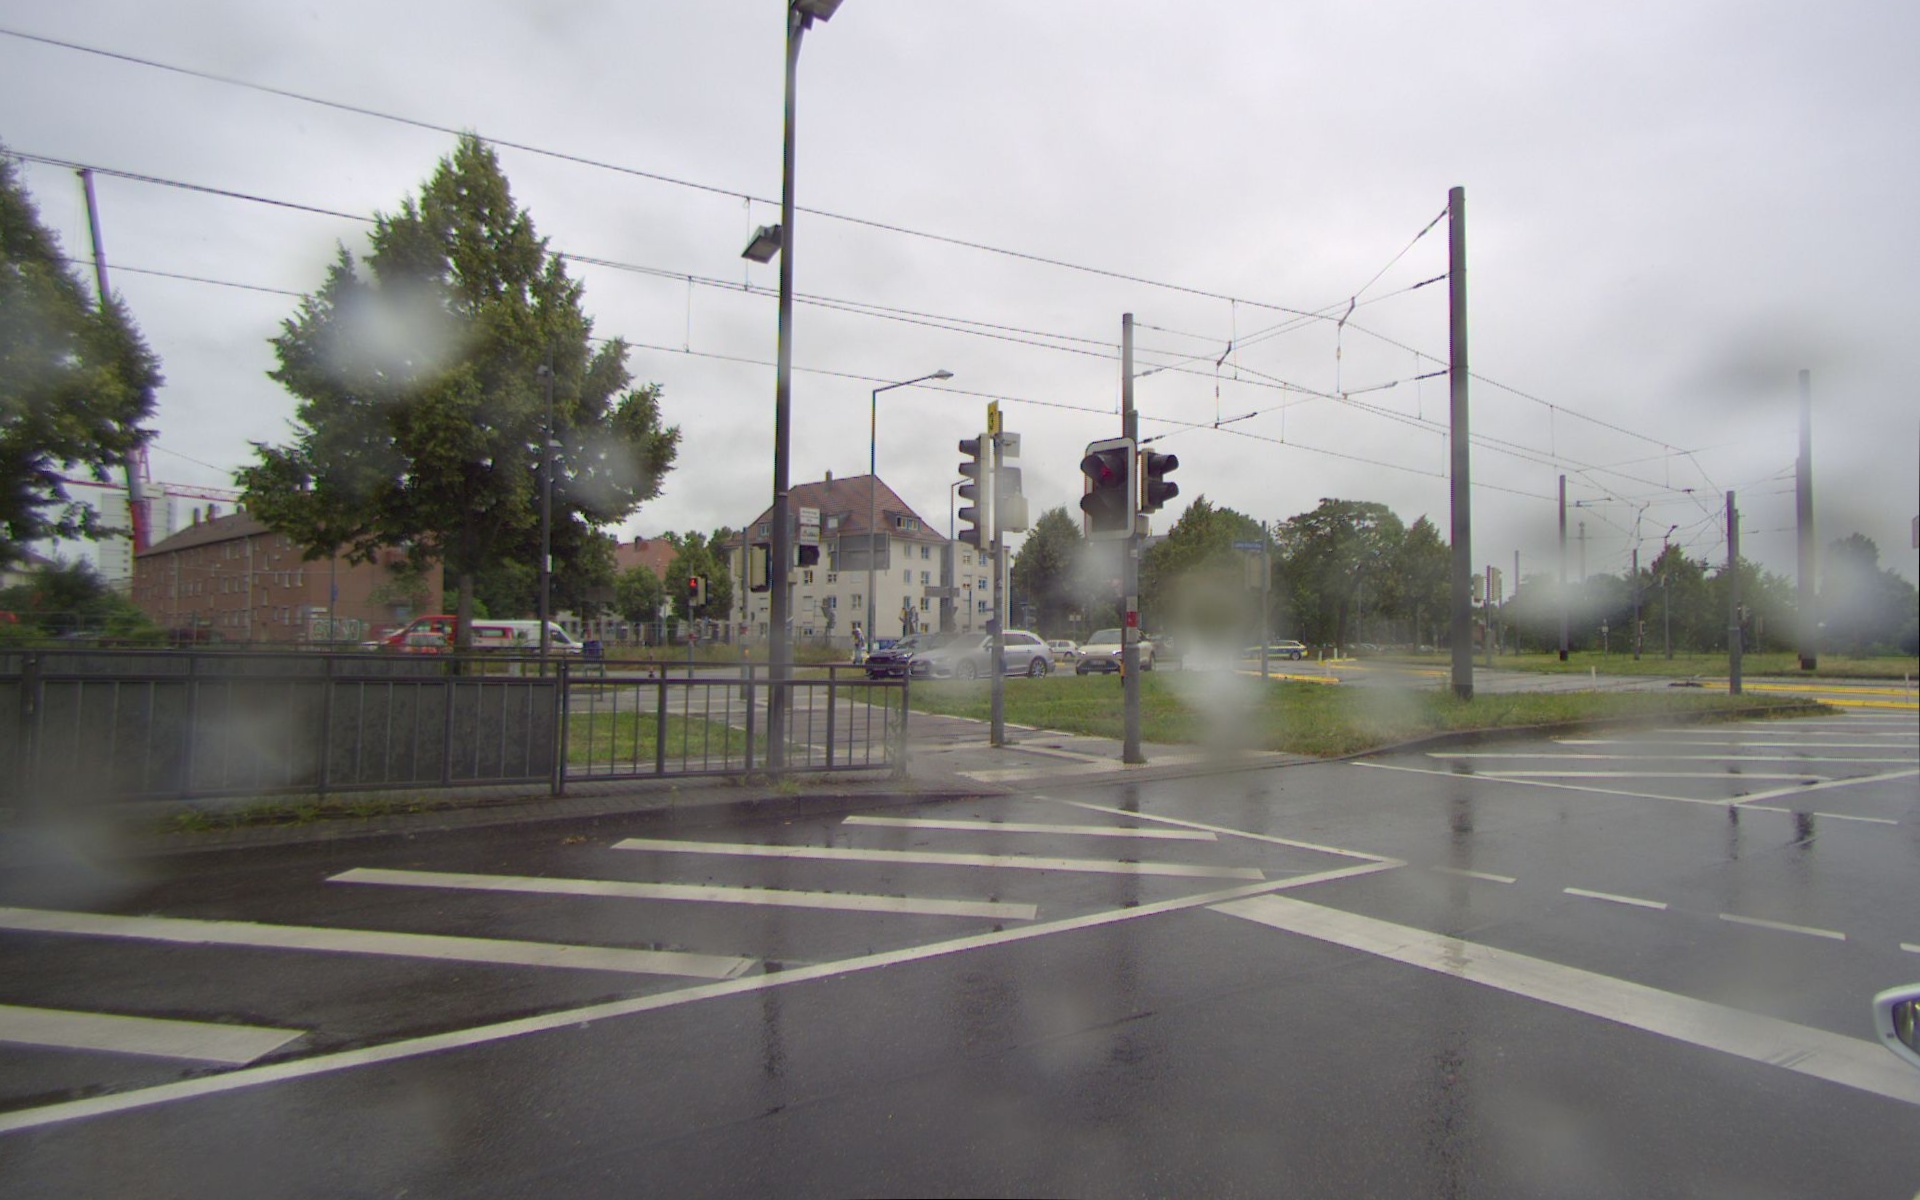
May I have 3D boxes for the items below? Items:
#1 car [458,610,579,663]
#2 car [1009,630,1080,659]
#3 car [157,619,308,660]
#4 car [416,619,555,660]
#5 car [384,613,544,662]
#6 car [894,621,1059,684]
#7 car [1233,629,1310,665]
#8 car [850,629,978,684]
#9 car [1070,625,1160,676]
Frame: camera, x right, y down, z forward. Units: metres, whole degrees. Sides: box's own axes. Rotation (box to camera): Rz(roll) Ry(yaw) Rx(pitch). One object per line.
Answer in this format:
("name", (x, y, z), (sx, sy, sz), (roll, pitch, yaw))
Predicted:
("car", (-26.159, 2.160, 59.815), (6.329, 2.978, 2.346), (2, 0, -20))
("car", (6.101, 3.187, 72.563), (4.747, 1.835, 1.999), (2, 0, 22))
("car", (-39.674, 2.112, 54.948), (2.325, 2.040, 6.388), (2, 0, 44))
("car", (-24.830, 2.080, 52.896), (6.329, 2.040, 2.347), (1, -2, -20))
("car", (-22.756, 1.728, 46.438), (6.329, 2.040, 2.346), (2, 0, -20))
("car", (0.532, 1.387, 27.420), (1.806, 1.506, 4.597), (2, 0, 45))
("car", (22.113, 3.343, 71.435), (4.750, 2.358, 1.998), (2, 0, -6))
("car", (-1.366, 1.700, 31.065), (1.802, 1.506, 3.984), (2, 0, 38))
("car", (5.259, 1.645, 33.626), (1.817, 1.506, 4.222), (2, 0, 25))
